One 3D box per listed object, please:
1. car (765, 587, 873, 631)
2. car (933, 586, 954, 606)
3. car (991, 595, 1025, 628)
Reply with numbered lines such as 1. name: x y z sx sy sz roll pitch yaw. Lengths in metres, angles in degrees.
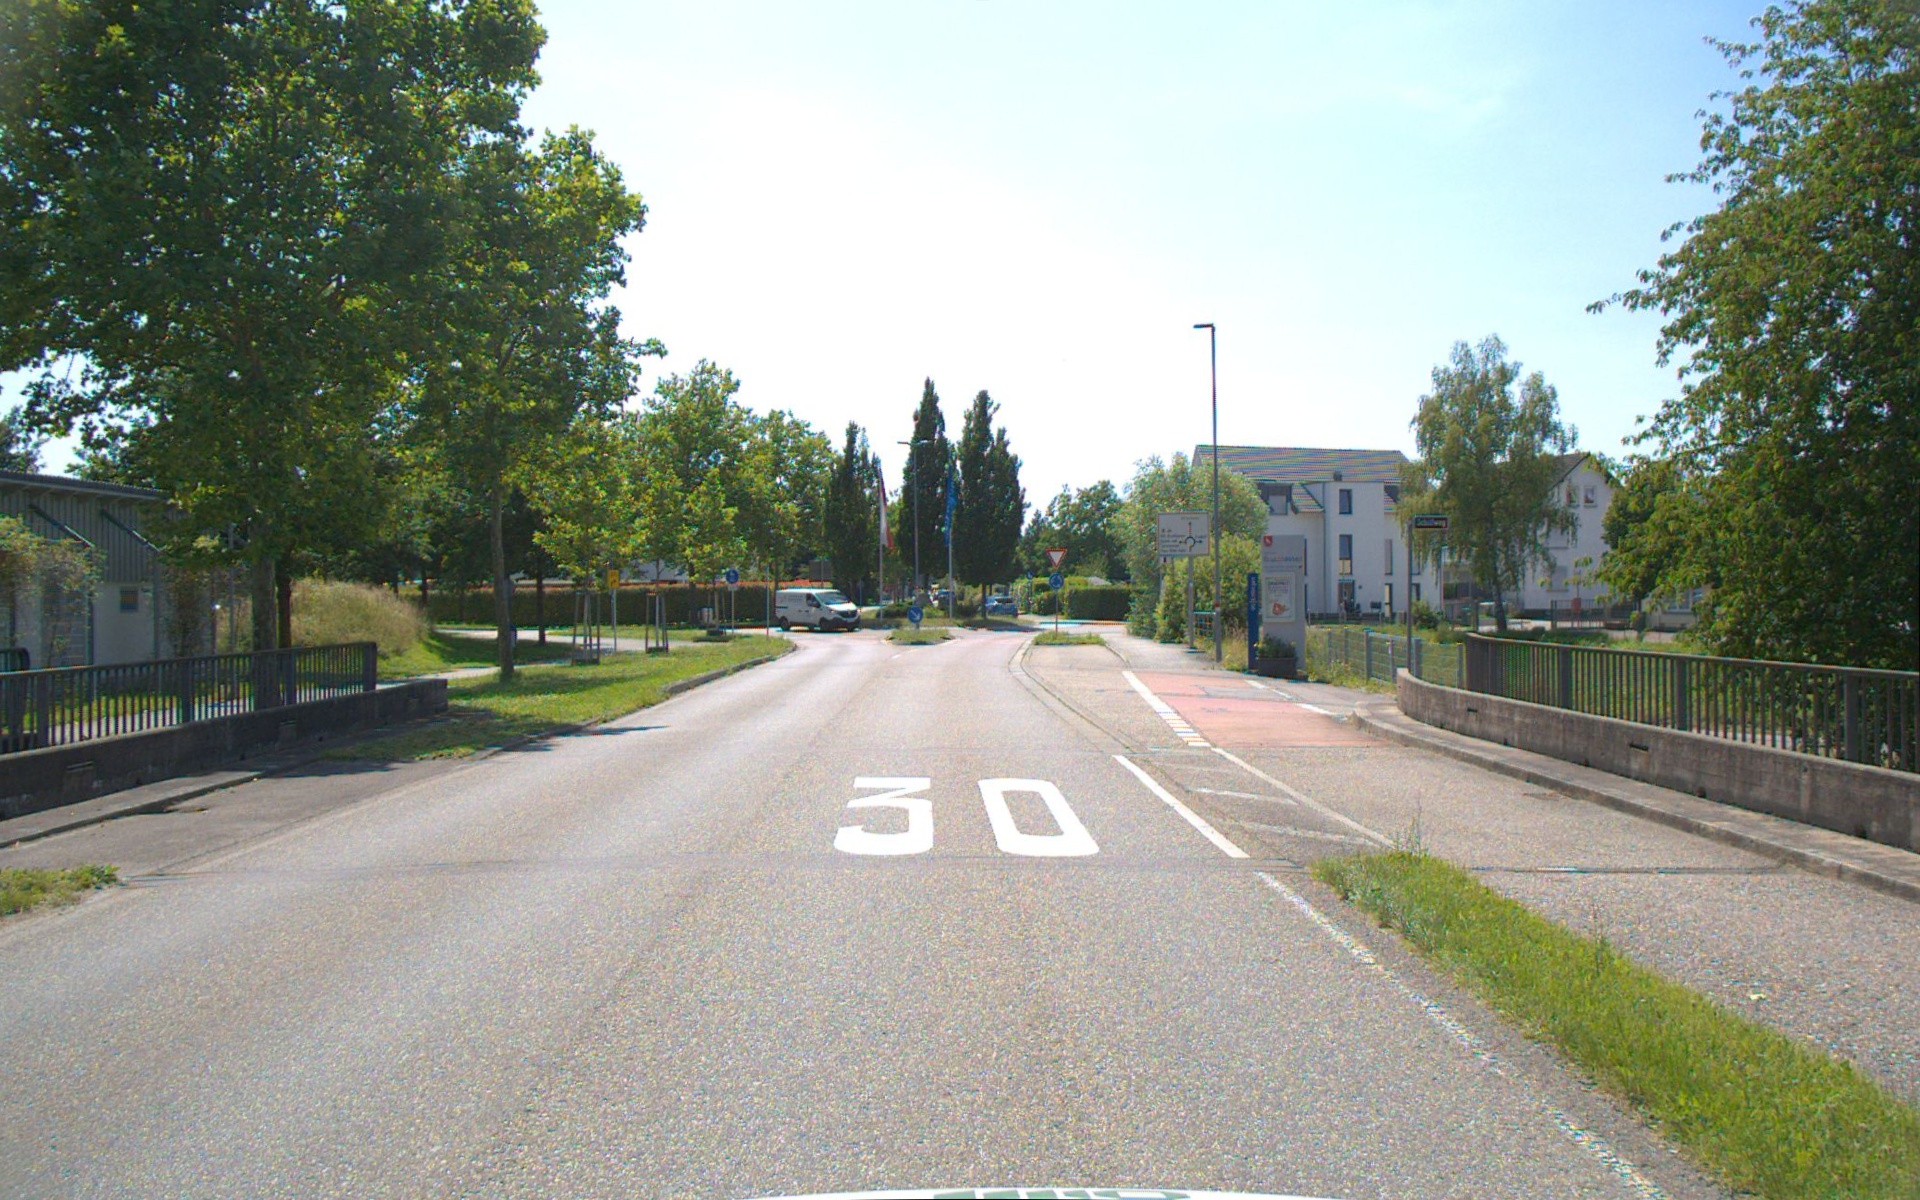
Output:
1. car: -6.815 0.431 79.664 5.047 2.049 2.126 1 0 37
2. car: -1.603 -0.343 157.171 1.953 1.801 3.999 1 0 -1
3. car: 2.943 0.706 102.386 1.884 1.919 3.999 1 0 -1
